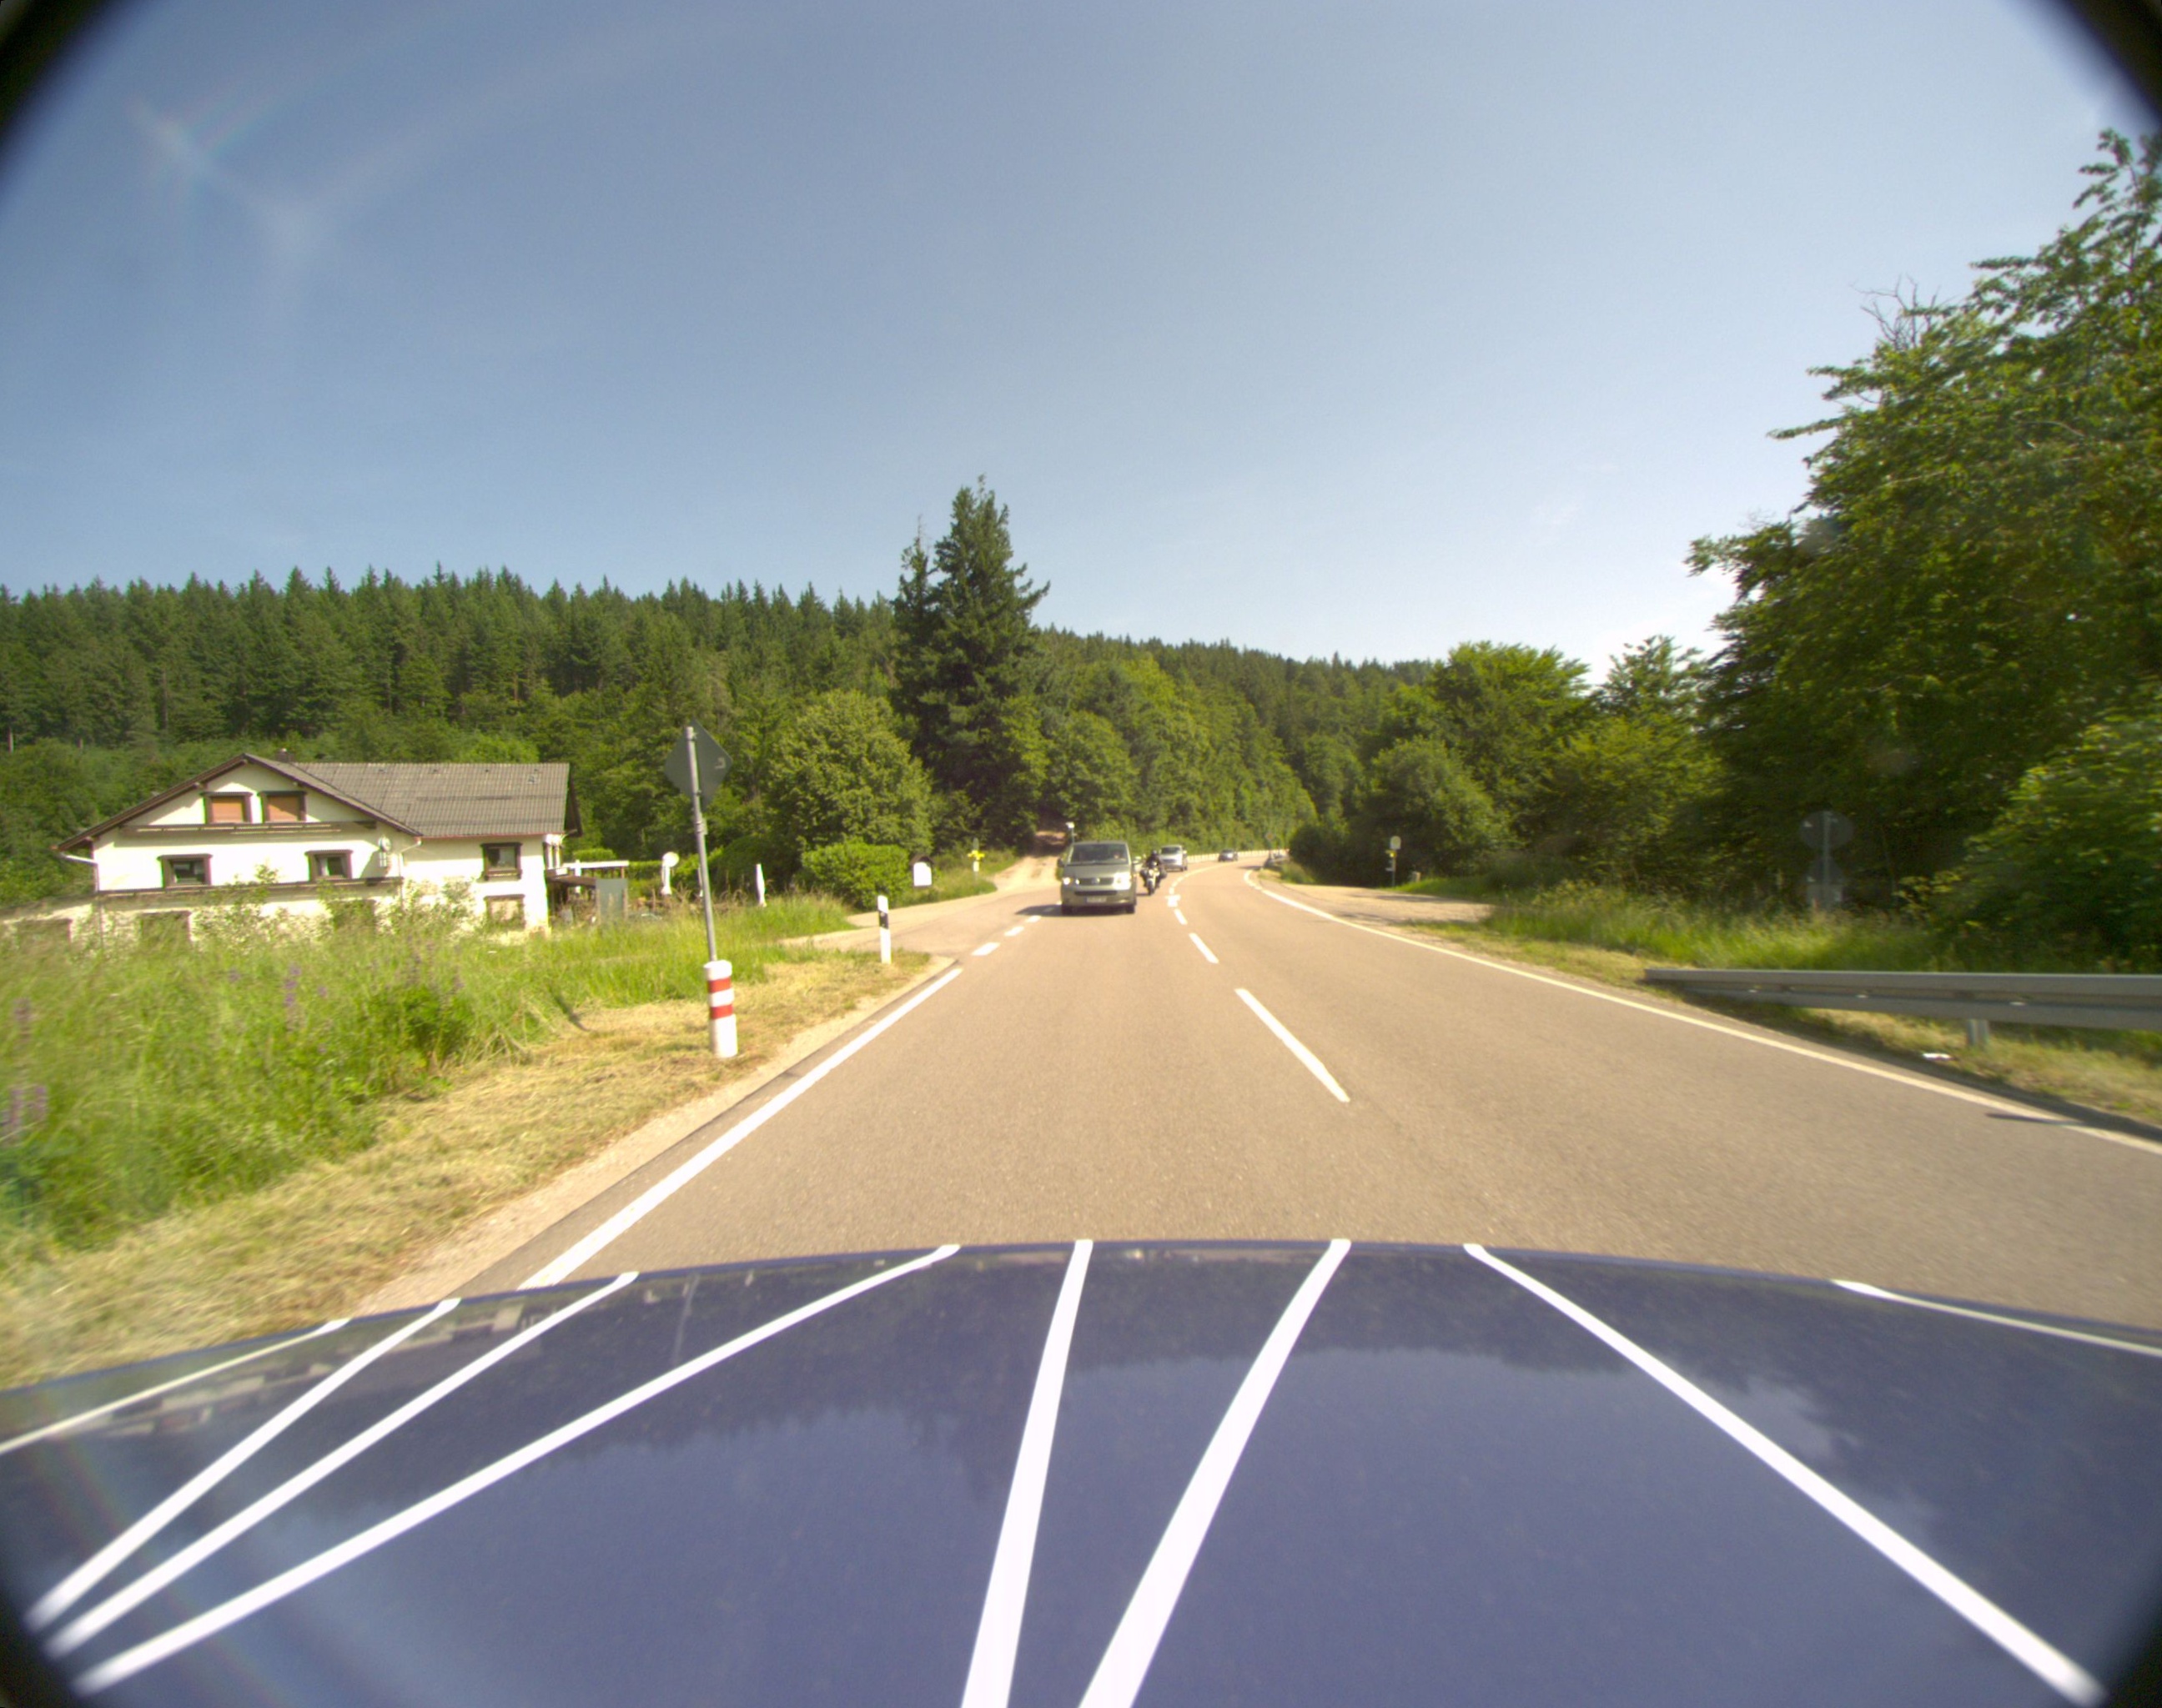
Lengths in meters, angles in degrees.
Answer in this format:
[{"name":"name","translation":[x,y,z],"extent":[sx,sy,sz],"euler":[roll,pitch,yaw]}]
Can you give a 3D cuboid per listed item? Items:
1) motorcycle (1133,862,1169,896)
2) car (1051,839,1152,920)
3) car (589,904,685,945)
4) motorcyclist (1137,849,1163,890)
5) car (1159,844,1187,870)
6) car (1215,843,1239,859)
[{"name":"motorcycle","translation":[2.546,0.896,27.563],"extent":[1.109,1.117,1.962],"euler":[-1,1,10]},{"name":"car","translation":[0.716,0.603,21.047],"extent":[2.028,1.940,4.902],"euler":[-2,1,10]},{"name":"car","translation":[-21.871,3.473,37.399],"extent":[4.468,1.614,1.980],"euler":[-4,5,31]},{"name":"motorcyclist","translation":[2.504,0.541,27.480],"extent":[0.716,1.421,1.000],"euler":[-4,0,11]},{"name":"car","translation":[6.675,0.169,54.839],"extent":[1.651,1.749,3.797],"euler":[-1,1,12]},{"name":"car","translation":[16.316,-0.322,84.685],"extent":[1.996,1.633,4.005],"euler":[-2,0,18]}]
